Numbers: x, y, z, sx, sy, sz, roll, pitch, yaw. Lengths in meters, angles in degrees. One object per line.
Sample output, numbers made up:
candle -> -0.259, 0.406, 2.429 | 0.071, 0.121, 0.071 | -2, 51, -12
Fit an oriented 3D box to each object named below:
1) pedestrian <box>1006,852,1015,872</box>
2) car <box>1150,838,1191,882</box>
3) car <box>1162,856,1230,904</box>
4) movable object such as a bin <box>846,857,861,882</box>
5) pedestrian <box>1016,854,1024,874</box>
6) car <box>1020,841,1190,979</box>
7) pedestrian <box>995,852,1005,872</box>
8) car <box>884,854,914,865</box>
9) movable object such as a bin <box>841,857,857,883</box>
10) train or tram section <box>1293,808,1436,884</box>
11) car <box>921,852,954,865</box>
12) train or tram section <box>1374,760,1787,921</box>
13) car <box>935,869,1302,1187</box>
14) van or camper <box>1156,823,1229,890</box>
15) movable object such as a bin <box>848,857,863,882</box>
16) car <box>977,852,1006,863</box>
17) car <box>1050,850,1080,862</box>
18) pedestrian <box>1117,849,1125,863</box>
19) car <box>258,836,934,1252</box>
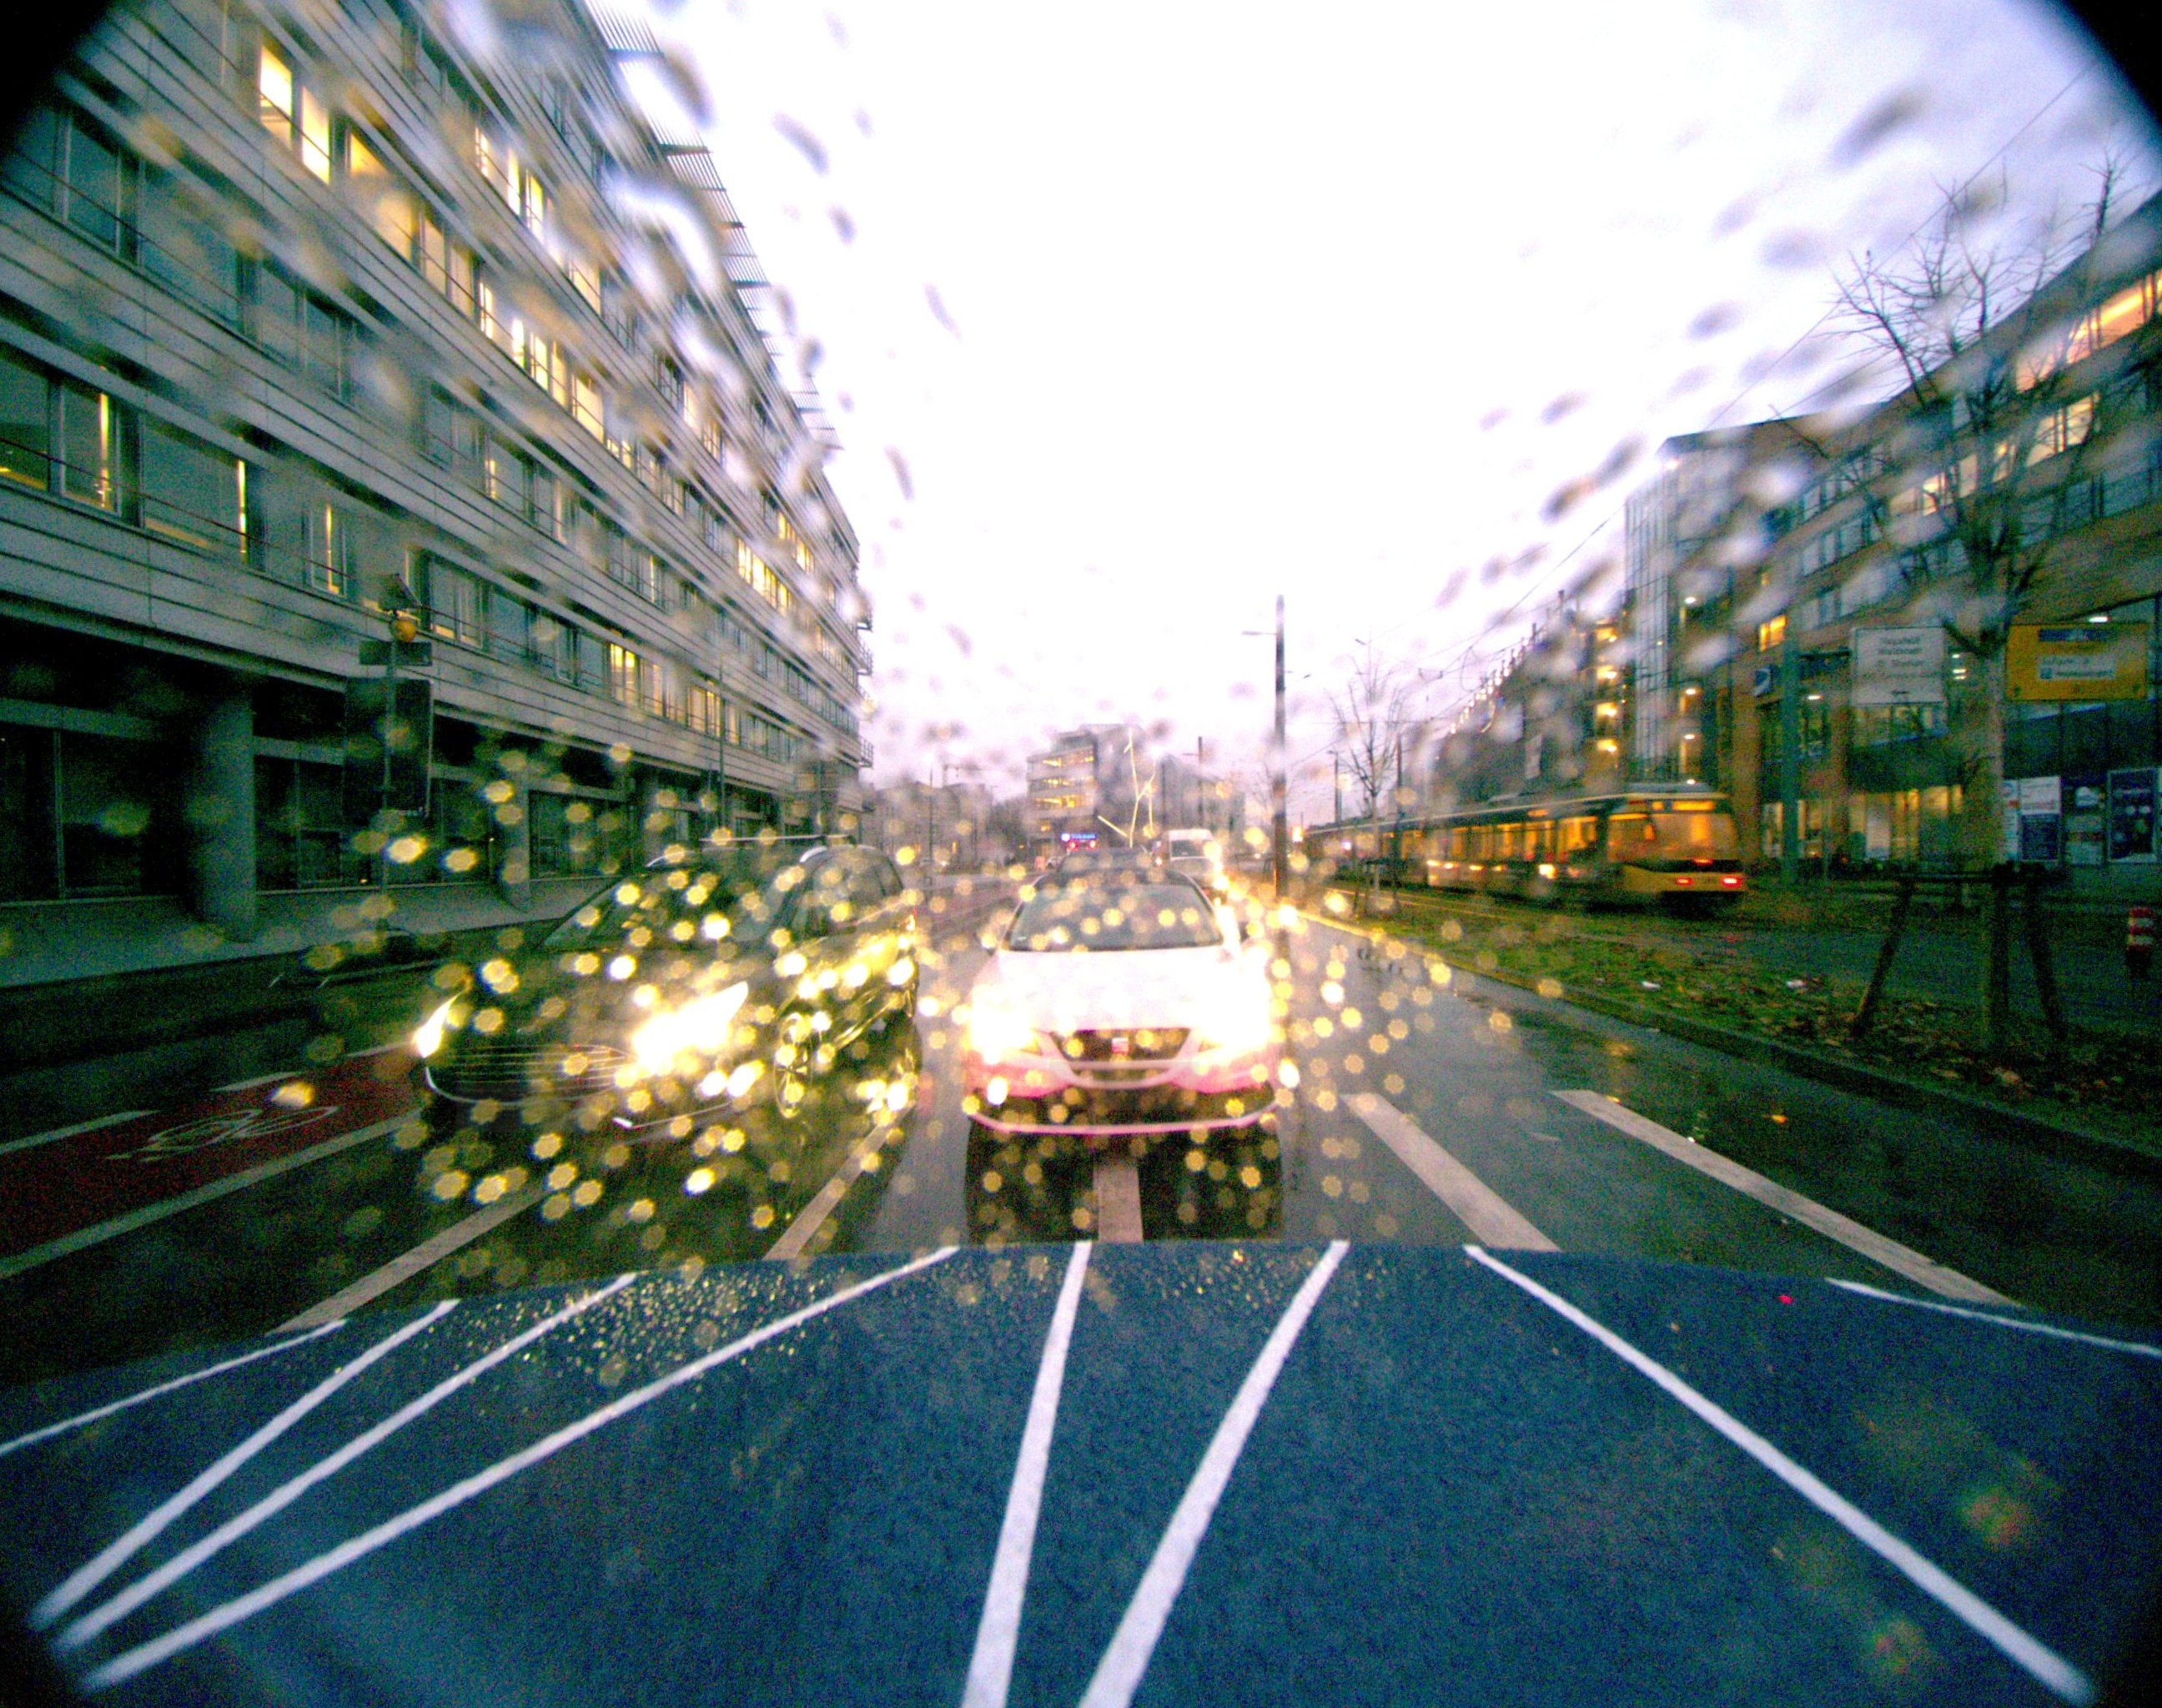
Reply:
pedestrian -> -5.976, 0.669, 64.579 | 0.651, 1.692, 0.884 | 1, 1, -3
car -> 6.148, 0.368, 52.718 | 2.129, 2.847, 5.813 | -1, 0, 0
car -> 3.590, 0.780, 24.324 | 1.759, 1.337, 4.057 | -1, 1, 3
movable object such as a bin -> -13.255, 0.919, 44.296 | 0.666, 1.420, 0.840 | -1, 1, -2
pedestrian -> -5.178, 0.821, 64.568 | 0.616, 1.659, 0.884 | 1, 1, -3
car -> 0.338, 0.715, 12.149 | 2.169, 1.744, 4.542 | -1, 0, 1
pedestrian -> -6.920, 0.699, 65.091 | 0.747, 1.692, 0.969 | 2, 1, -3
car -> -27.852, 0.828, 116.086 | 3.996, 1.663, 2.002 | -1, 1, 17
movable object such as a bin -> -13.259, 0.906, 43.399 | 0.666, 1.420, 0.840 | -1, 1, -2
train or tram section -> 16.275, -0.428, 46.195 | 2.870, 3.593, 20.077 | 0, 0, 5
car -> -21.413, 0.662, 113.726 | 4.368, 1.750, 2.002 | -1, 1, 17
train or tram section -> 14.887, -0.350, 26.653 | 2.871, 3.593, 19.216 | 0, 0, 3
car -> 0.211, 0.895, 5.699 | 1.782, 1.464, 3.943 | -1, 0, 1
van or camper -> 4.518, 0.074, 31.825 | 2.153, 2.517, 5.898 | -1, 0, 0
movable object such as a bin -> -13.419, 0.923, 45.226 | 0.666, 1.468, 0.840 | -1, 1, -2
car -> -13.039, 0.557, 110.701 | 3.759, 1.528, 1.782 | 0, 0, 17
car -> -2.279, 0.295, 107.826 | 3.918, 1.699, 1.782 | -1, 1, 14
pedestrian -> 5.049, 0.281, 95.737 | 0.894, 1.783, 0.667 | 0, 1, -16
car -> -2.612, 0.847, 5.707 | 1.887, 1.800, 4.671 | -2, 0, 2
